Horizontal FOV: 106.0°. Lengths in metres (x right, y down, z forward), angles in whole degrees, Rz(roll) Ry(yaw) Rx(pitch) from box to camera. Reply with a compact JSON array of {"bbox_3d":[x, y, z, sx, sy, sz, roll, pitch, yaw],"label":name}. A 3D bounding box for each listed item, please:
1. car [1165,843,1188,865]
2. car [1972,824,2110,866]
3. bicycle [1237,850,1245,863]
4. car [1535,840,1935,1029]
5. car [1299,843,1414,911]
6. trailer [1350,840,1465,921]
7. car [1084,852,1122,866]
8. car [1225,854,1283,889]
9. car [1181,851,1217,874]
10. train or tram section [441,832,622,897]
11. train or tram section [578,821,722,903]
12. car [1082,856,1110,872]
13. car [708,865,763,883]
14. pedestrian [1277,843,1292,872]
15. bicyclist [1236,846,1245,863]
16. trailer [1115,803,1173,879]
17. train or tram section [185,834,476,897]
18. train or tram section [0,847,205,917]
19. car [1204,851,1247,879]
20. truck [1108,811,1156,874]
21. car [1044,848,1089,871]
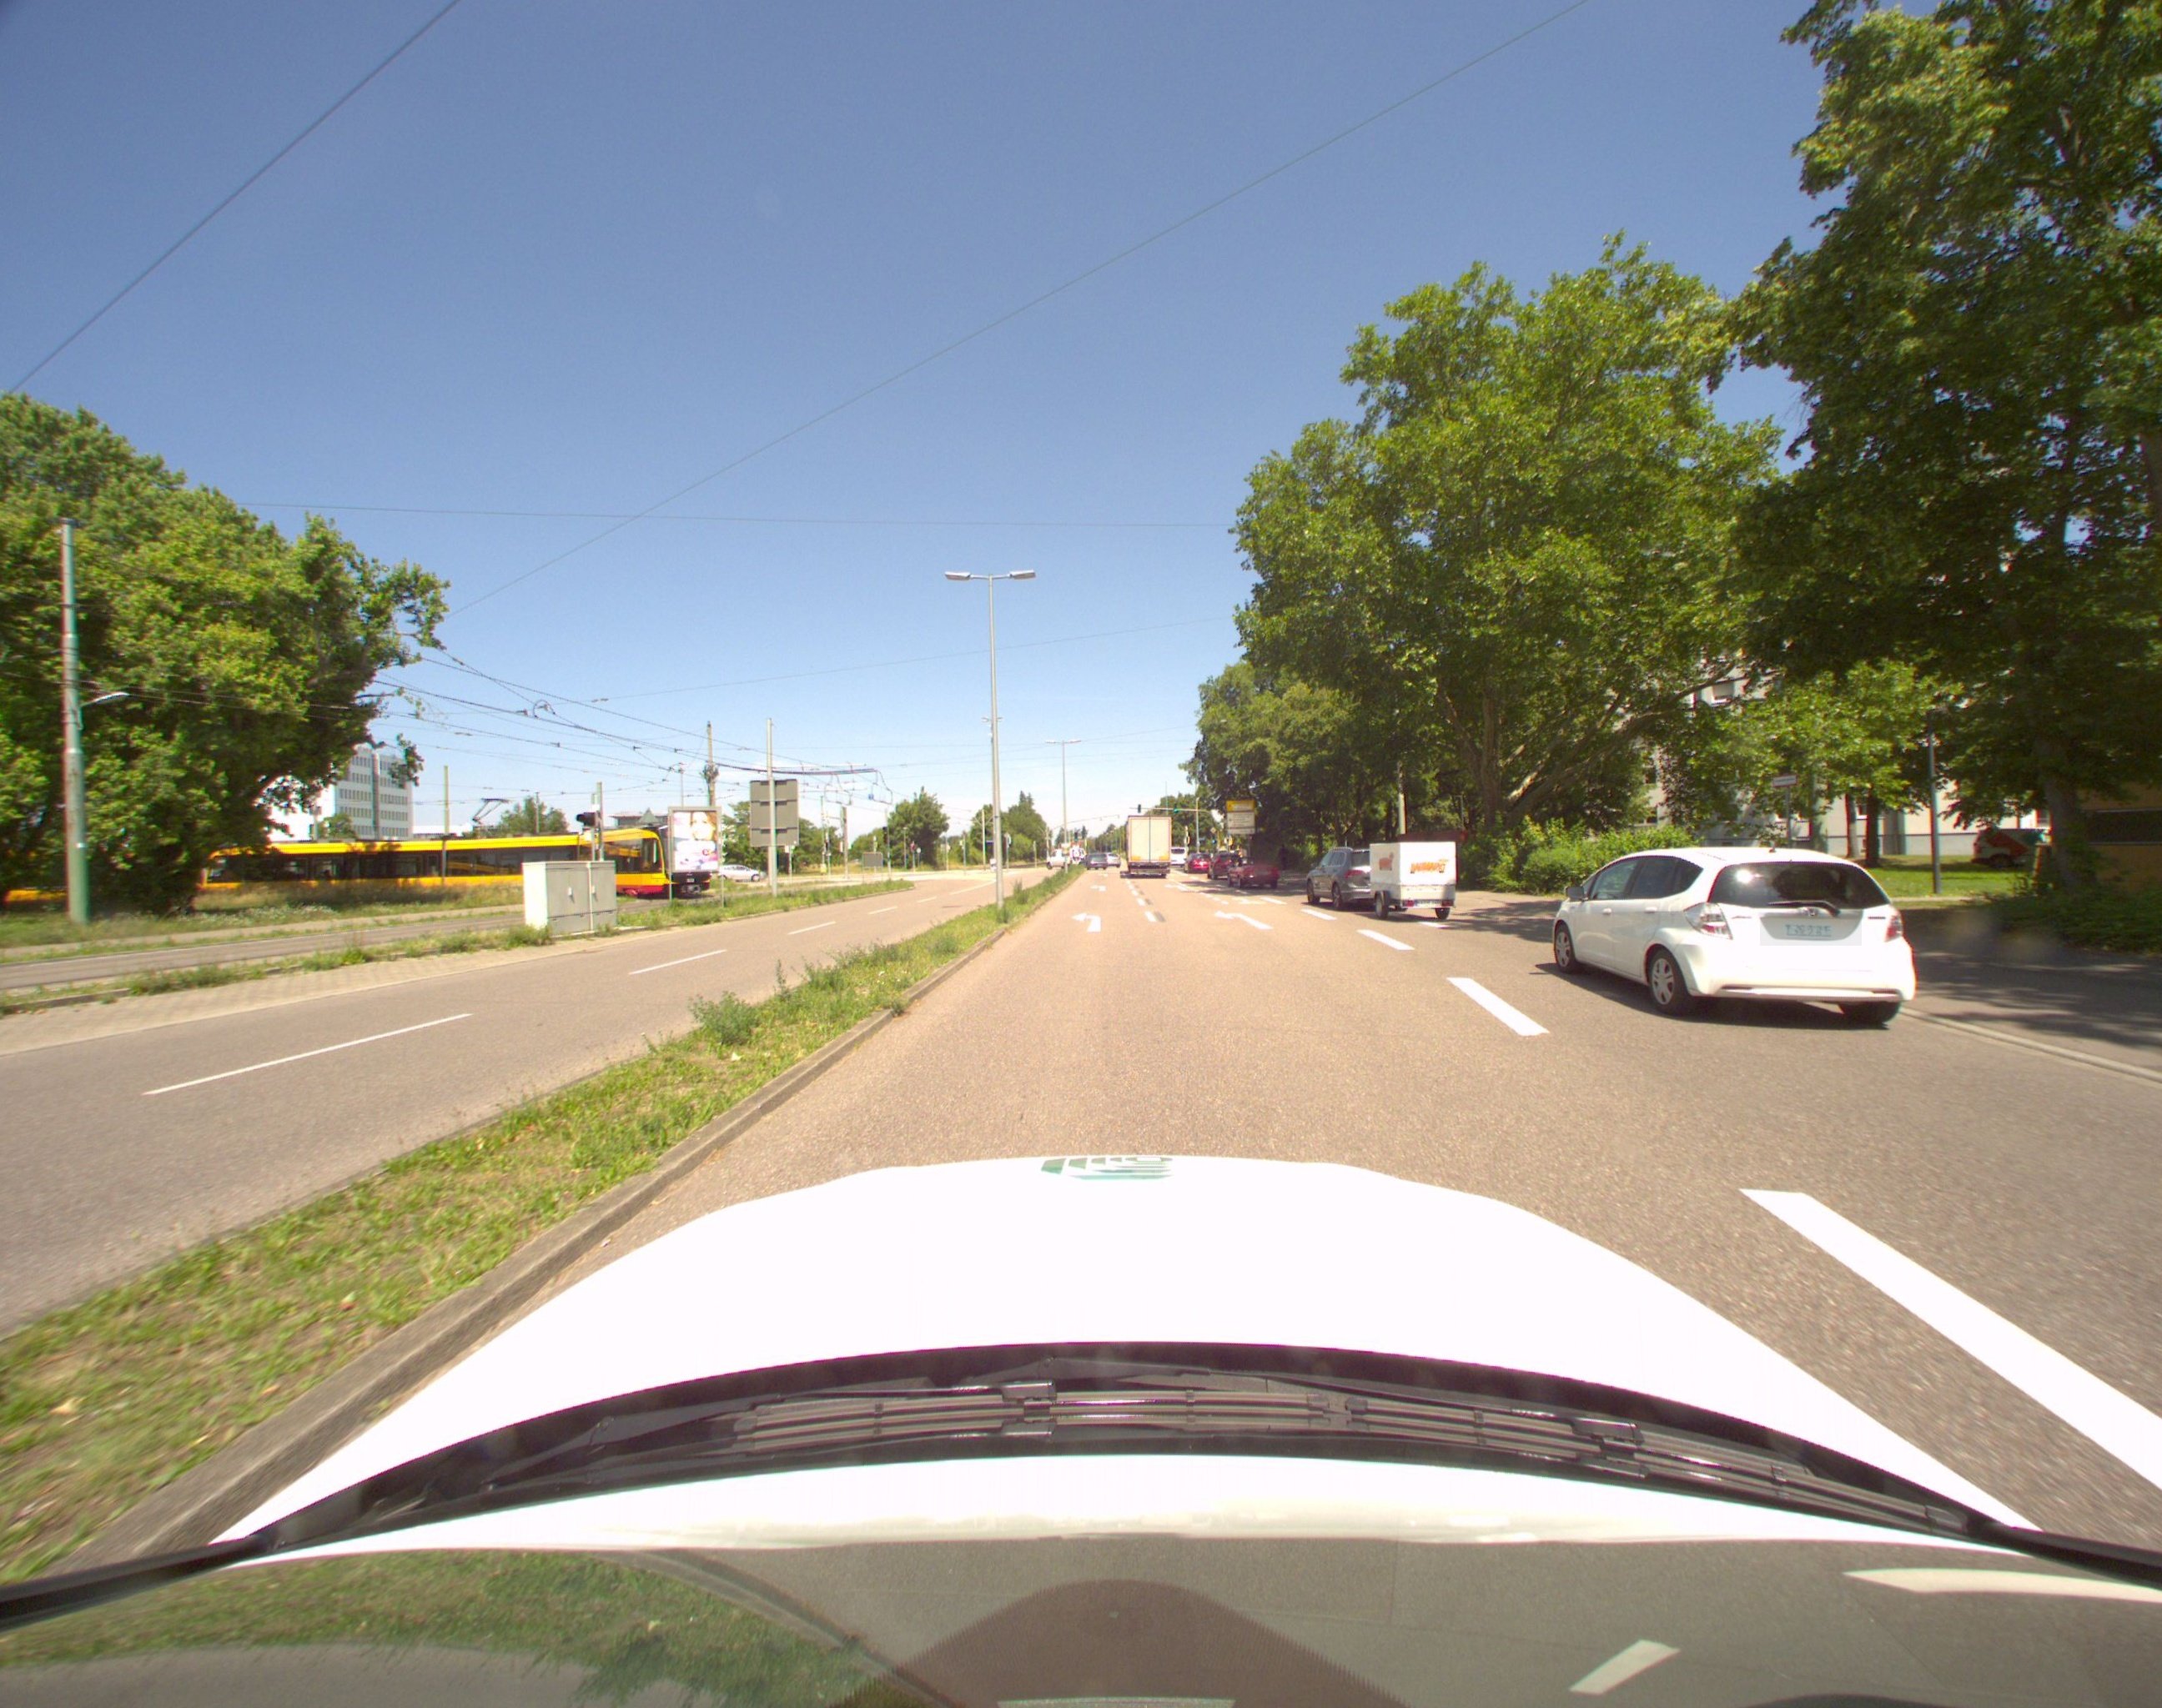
[{"bbox_3d":[9.386,-0.002,80.233,1.884,2.121,3.887,0,0,1],"label":"car"},{"bbox_3d":[41.022,-0.380,34.948,1.751,1.701,3.703,0,0,-44],"label":"car"},{"bbox_3d":[16.928,0.246,86.141,0.640,1.304,1.631,-3,0,13],"label":"bicycle"},{"bbox_3d":[6.290,0.621,8.464,1.709,1.488,3.891,0,0,12],"label":"car"},{"bbox_3d":[7.262,0.547,21.936,1.693,1.654,4.399,0,0,1],"label":"car"},{"bbox_3d":[7.236,0.532,18.287,1.464,1.669,2.856,0,0,0],"label":"trailer"},{"bbox_3d":[2.174,0.482,81.735,1.904,1.371,4.388,-2,1,-30],"label":"car"},{"bbox_3d":[7.403,0.707,35.200,1.649,1.396,4.267,0,0,1],"label":"car"},{"bbox_3d":[8.572,0.594,59.322,1.987,1.503,4.502,-2,1,0],"label":"car"},{"bbox_3d":[-31.553,0.552,46.731,10.107,3.466,3.061,0,0,19],"label":"train or tram section"},{"bbox_3d":[-21.669,0.303,40.305,3.063,3.466,13.131,0,0,-43],"label":"train or tram section"},{"bbox_3d":[1.311,0.854,71.495,1.890,1.372,4.419,1,-1,-7],"label":"car"},{"bbox_3d":[-29.620,1.719,69.853,4.289,1.293,1.983,-2,1,-26],"label":"car"},{"bbox_3d":[13.001,0.247,52.017,0.750,1.815,0.693,-3,0,1],"label":"pedestrian"},{"bbox_3d":[16.899,0.044,86.159,0.796,1.727,0.681,-4,-1,13],"label":"bicyclist"},{"bbox_3d":[3.885,-0.808,51.958,2.819,4.421,8.744,0,0,-1],"label":"trailer"},{"bbox_3d":[-43.130,0.599,47.310,12.709,3.466,3.036,0,0,-10],"label":"train or tram section"},{"bbox_3d":[-54.521,1.390,41.863,3.008,3.466,12.827,0,0,44],"label":"train or tram section"},{"bbox_3d":[8.305,0.591,47.105,1.852,1.549,3.887,0,0,1],"label":"car"},{"bbox_3d":[3.669,-0.891,60.483,2.819,4.344,8.279,0,1,-2],"label":"truck"},{"bbox_3d":[-1.462,0.514,78.555,2.009,2.111,4.696,-2,1,-36],"label":"car"}]
